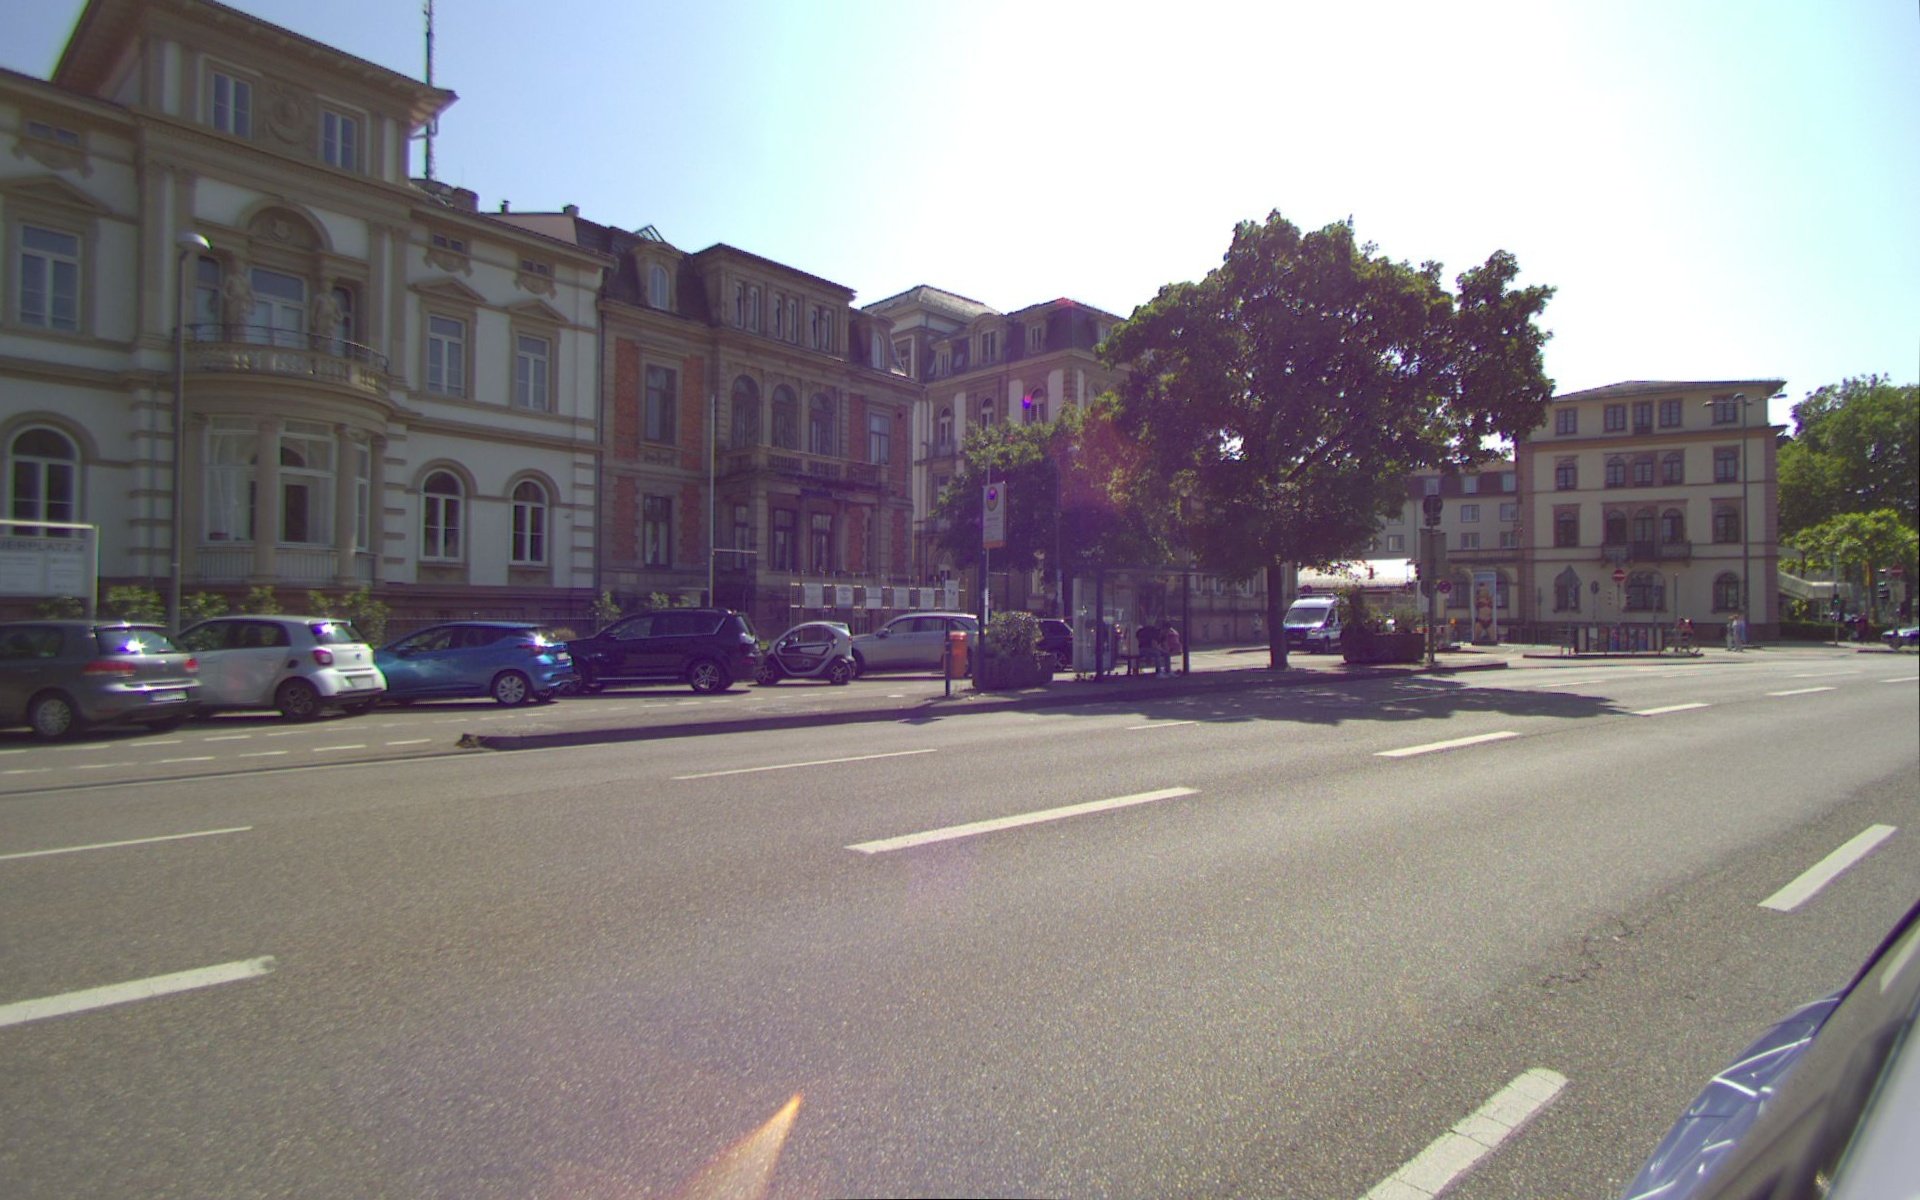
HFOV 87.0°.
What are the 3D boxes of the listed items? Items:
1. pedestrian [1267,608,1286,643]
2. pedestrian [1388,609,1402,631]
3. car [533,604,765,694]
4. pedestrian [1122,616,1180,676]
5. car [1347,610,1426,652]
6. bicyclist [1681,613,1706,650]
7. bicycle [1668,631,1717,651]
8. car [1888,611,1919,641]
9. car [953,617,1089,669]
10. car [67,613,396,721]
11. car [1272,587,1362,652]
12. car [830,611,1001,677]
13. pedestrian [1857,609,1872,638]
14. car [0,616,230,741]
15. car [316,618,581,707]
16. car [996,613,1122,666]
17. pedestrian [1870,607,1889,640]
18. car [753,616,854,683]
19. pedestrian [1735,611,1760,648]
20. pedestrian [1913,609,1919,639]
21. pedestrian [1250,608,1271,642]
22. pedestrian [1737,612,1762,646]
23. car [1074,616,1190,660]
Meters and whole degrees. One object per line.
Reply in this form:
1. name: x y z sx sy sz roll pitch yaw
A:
1. pedestrian: 16.212 1.283 51.810 0.698 1.774 0.712 -1 -2 38
2. pedestrian: 31.661 1.467 73.728 0.707 1.624 0.722 1 -2 -44
3. car: -6.161 0.954 20.429 4.190 1.718 1.714 0 -1 -3
4. pedestrian: 4.006 0.952 21.190 1.012 1.213 0.784 0 -1 29
5. car: 17.936 1.271 42.473 1.813 1.647 4.811 -1 -1 39
6. bicyclist: 32.356 1.385 44.641 0.671 1.627 0.593 0 -1 -2
7. bicycle: 32.300 1.789 44.627 1.710 0.866 0.594 0 -1 -2
8. car: 49.566 1.358 50.811 3.921 1.470 1.782 1 0 18
9. car: 1.717 1.189 28.710 3.751 1.435 1.604 0 -1 3
10. car: -10.867 0.964 15.291 3.739 1.531 1.713 0 -1 0
11. car: 15.551 0.850 43.933 1.990 2.637 5.241 -1 -2 40
12. car: -1.126 1.101 26.023 4.233 1.650 1.714 0 -1 -1
13. pedestrian: 53.319 1.378 59.687 0.531 1.670 0.666 -1 -2 33
14. car: -12.033 0.944 13.007 4.031 1.480 1.826 0 -1 2
15. car: -8.768 1.045 17.600 3.736 1.461 1.714 0 -1 -3
16. car: 3.049 1.220 31.682 3.807 1.595 1.748 0 -1 3
17. pedestrian: 52.284 1.337 57.538 0.722 1.828 0.644 -1 -2 36
18. car: -3.589 1.123 23.419 2.242 1.502 1.203 0 -1 -7
19. pedestrian: 36.414 1.341 46.781 0.815 1.681 0.752 1 -2 -41
20. pedestrian: 53.871 1.364 56.704 0.531 1.670 0.573 -1 -2 33
21. pedestrian: 15.546 1.293 52.363 0.816 1.762 0.740 -1 -2 38
22. pedestrian: 37.353 1.352 47.862 0.815 1.592 0.772 1 -2 -40
23. car: 5.712 1.259 33.884 3.633 1.436 1.747 0 -1 3
